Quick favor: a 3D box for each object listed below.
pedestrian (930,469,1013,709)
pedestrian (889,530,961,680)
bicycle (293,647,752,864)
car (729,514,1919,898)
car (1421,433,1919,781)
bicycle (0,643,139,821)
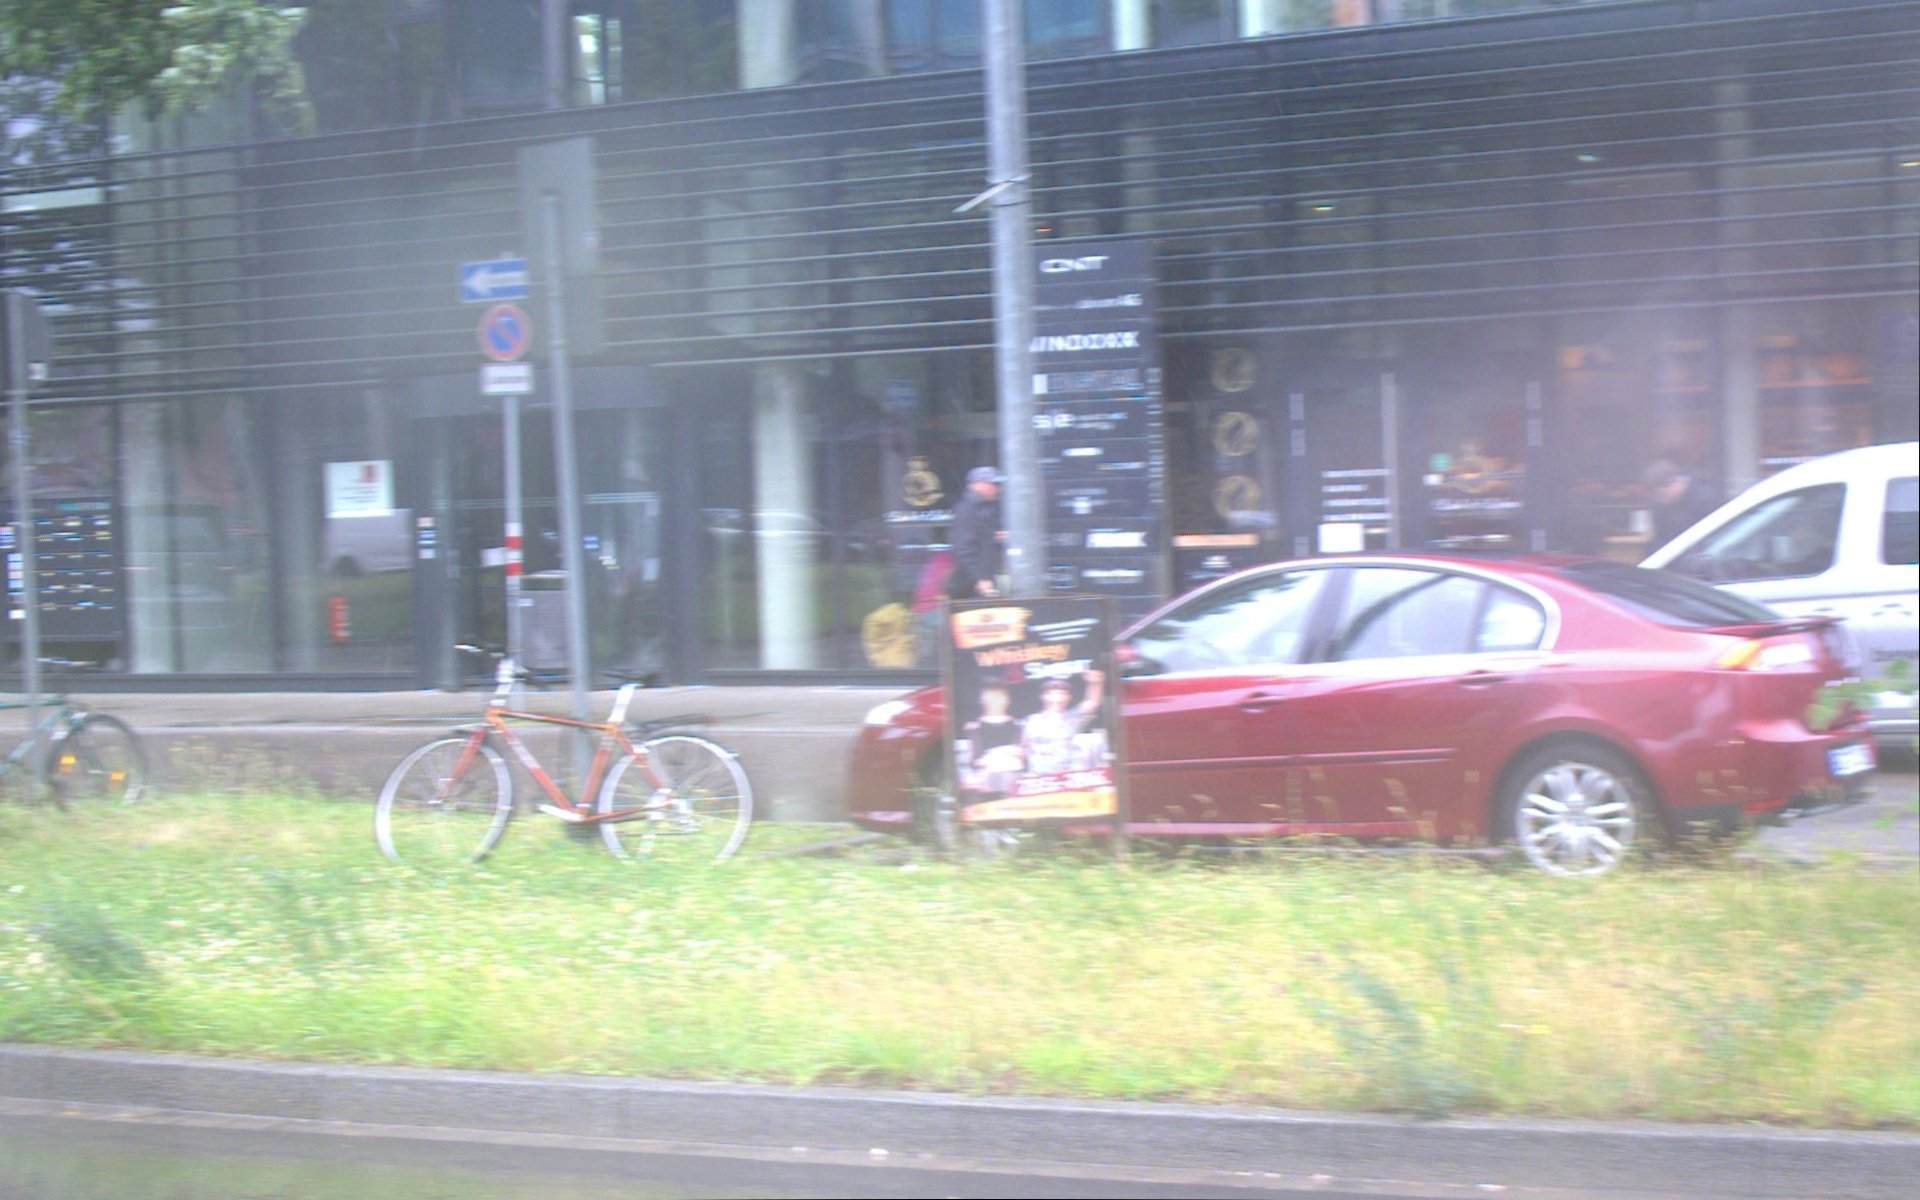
[{"bbox_3d":[0.085,-0.094,26.508,0.575,1.826,0.507,0,3,-7],"label":"pedestrian"},{"bbox_3d":[-0.298,0.035,29.033,0.448,1.233,0.582,-1,3,-19],"label":"pedestrian"},{"bbox_3d":[-1.909,0.665,15.043,1.909,0.859,0.574,1,3,14],"label":"bicycle"},{"bbox_3d":[1.604,0.412,15.445,4.951,1.449,1.997,-1,2,29],"label":"car"},{"bbox_3d":[5.165,-0.009,19.428,4.715,1.859,1.897,1,3,26],"label":"car"},{"bbox_3d":[-5.247,0.722,18.684,1.457,0.914,0.433,-2,3,-29],"label":"bicycle"}]
